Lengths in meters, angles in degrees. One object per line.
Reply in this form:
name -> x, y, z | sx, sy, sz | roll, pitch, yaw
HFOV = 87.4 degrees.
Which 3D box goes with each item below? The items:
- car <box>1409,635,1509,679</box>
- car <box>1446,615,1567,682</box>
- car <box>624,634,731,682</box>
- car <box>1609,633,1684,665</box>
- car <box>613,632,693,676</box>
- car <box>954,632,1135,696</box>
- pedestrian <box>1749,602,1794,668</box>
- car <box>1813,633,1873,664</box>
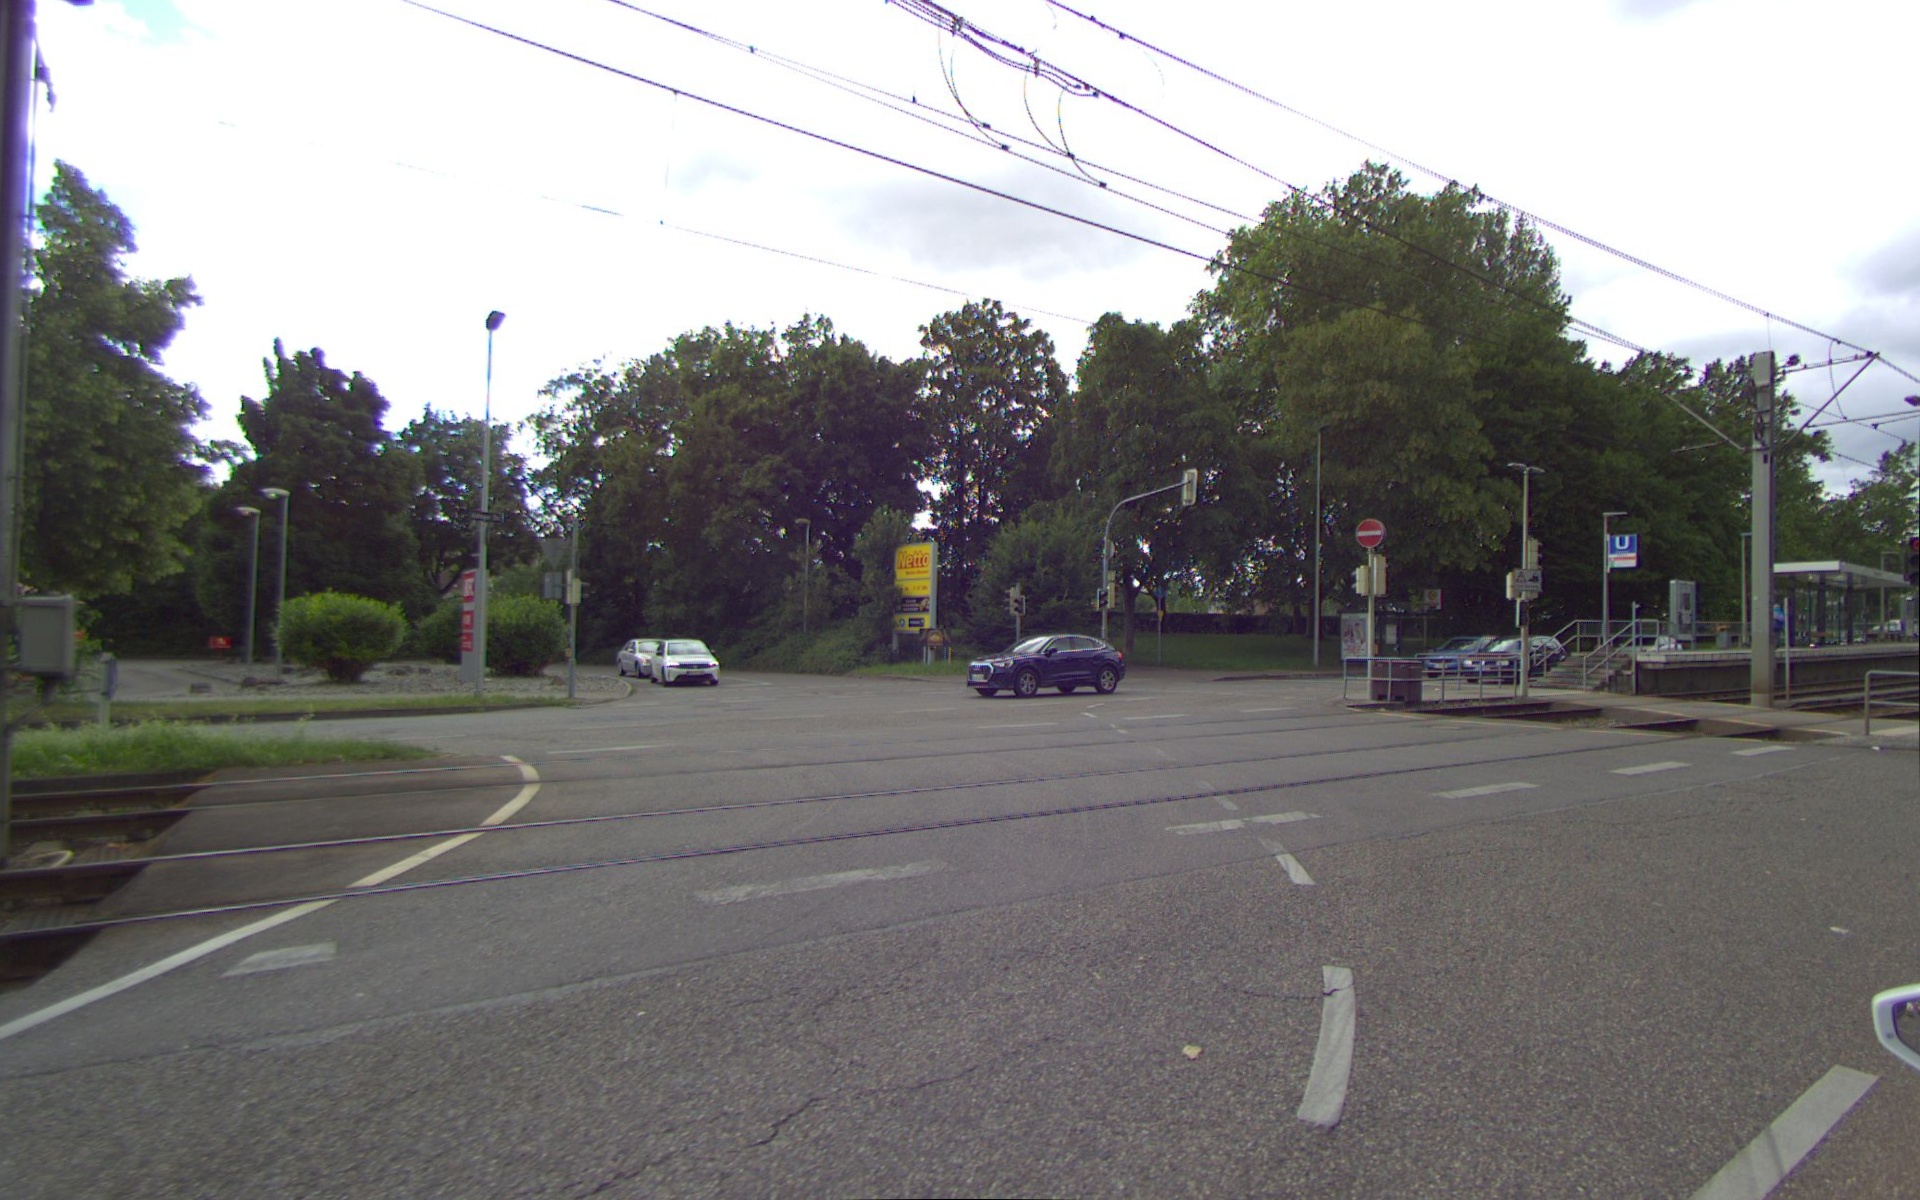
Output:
car -> 17.786, 2.043, 35.730 | 4.017, 1.465, 1.583 | 3, -4, -37
car -> 16.881, 1.497, 30.958 | 3.961, 1.885, 1.685 | 3, 0, -36
car -> -9.123, 1.830, 32.245 | 1.833, 1.426, 3.845 | 3, -3, -41
car -> 32.830, 2.364, 48.028 | 3.961, 1.464, 1.675 | 3, -5, -36
car -> -11.592, 2.006, 37.734 | 1.828, 1.572, 3.964 | 2, -3, -33
car -> 2.213, 1.587, 25.792 | 4.463, 1.501, 1.980 | 2, -2, -36
pedestrian -> 27.868, 1.210, 34.517 | 0.966, 2.215, 0.964 | 2, -1, -33
car -> 52.650, 2.927, 59.873 | 4.356, 1.774, 1.699 | 3, -4, -35
